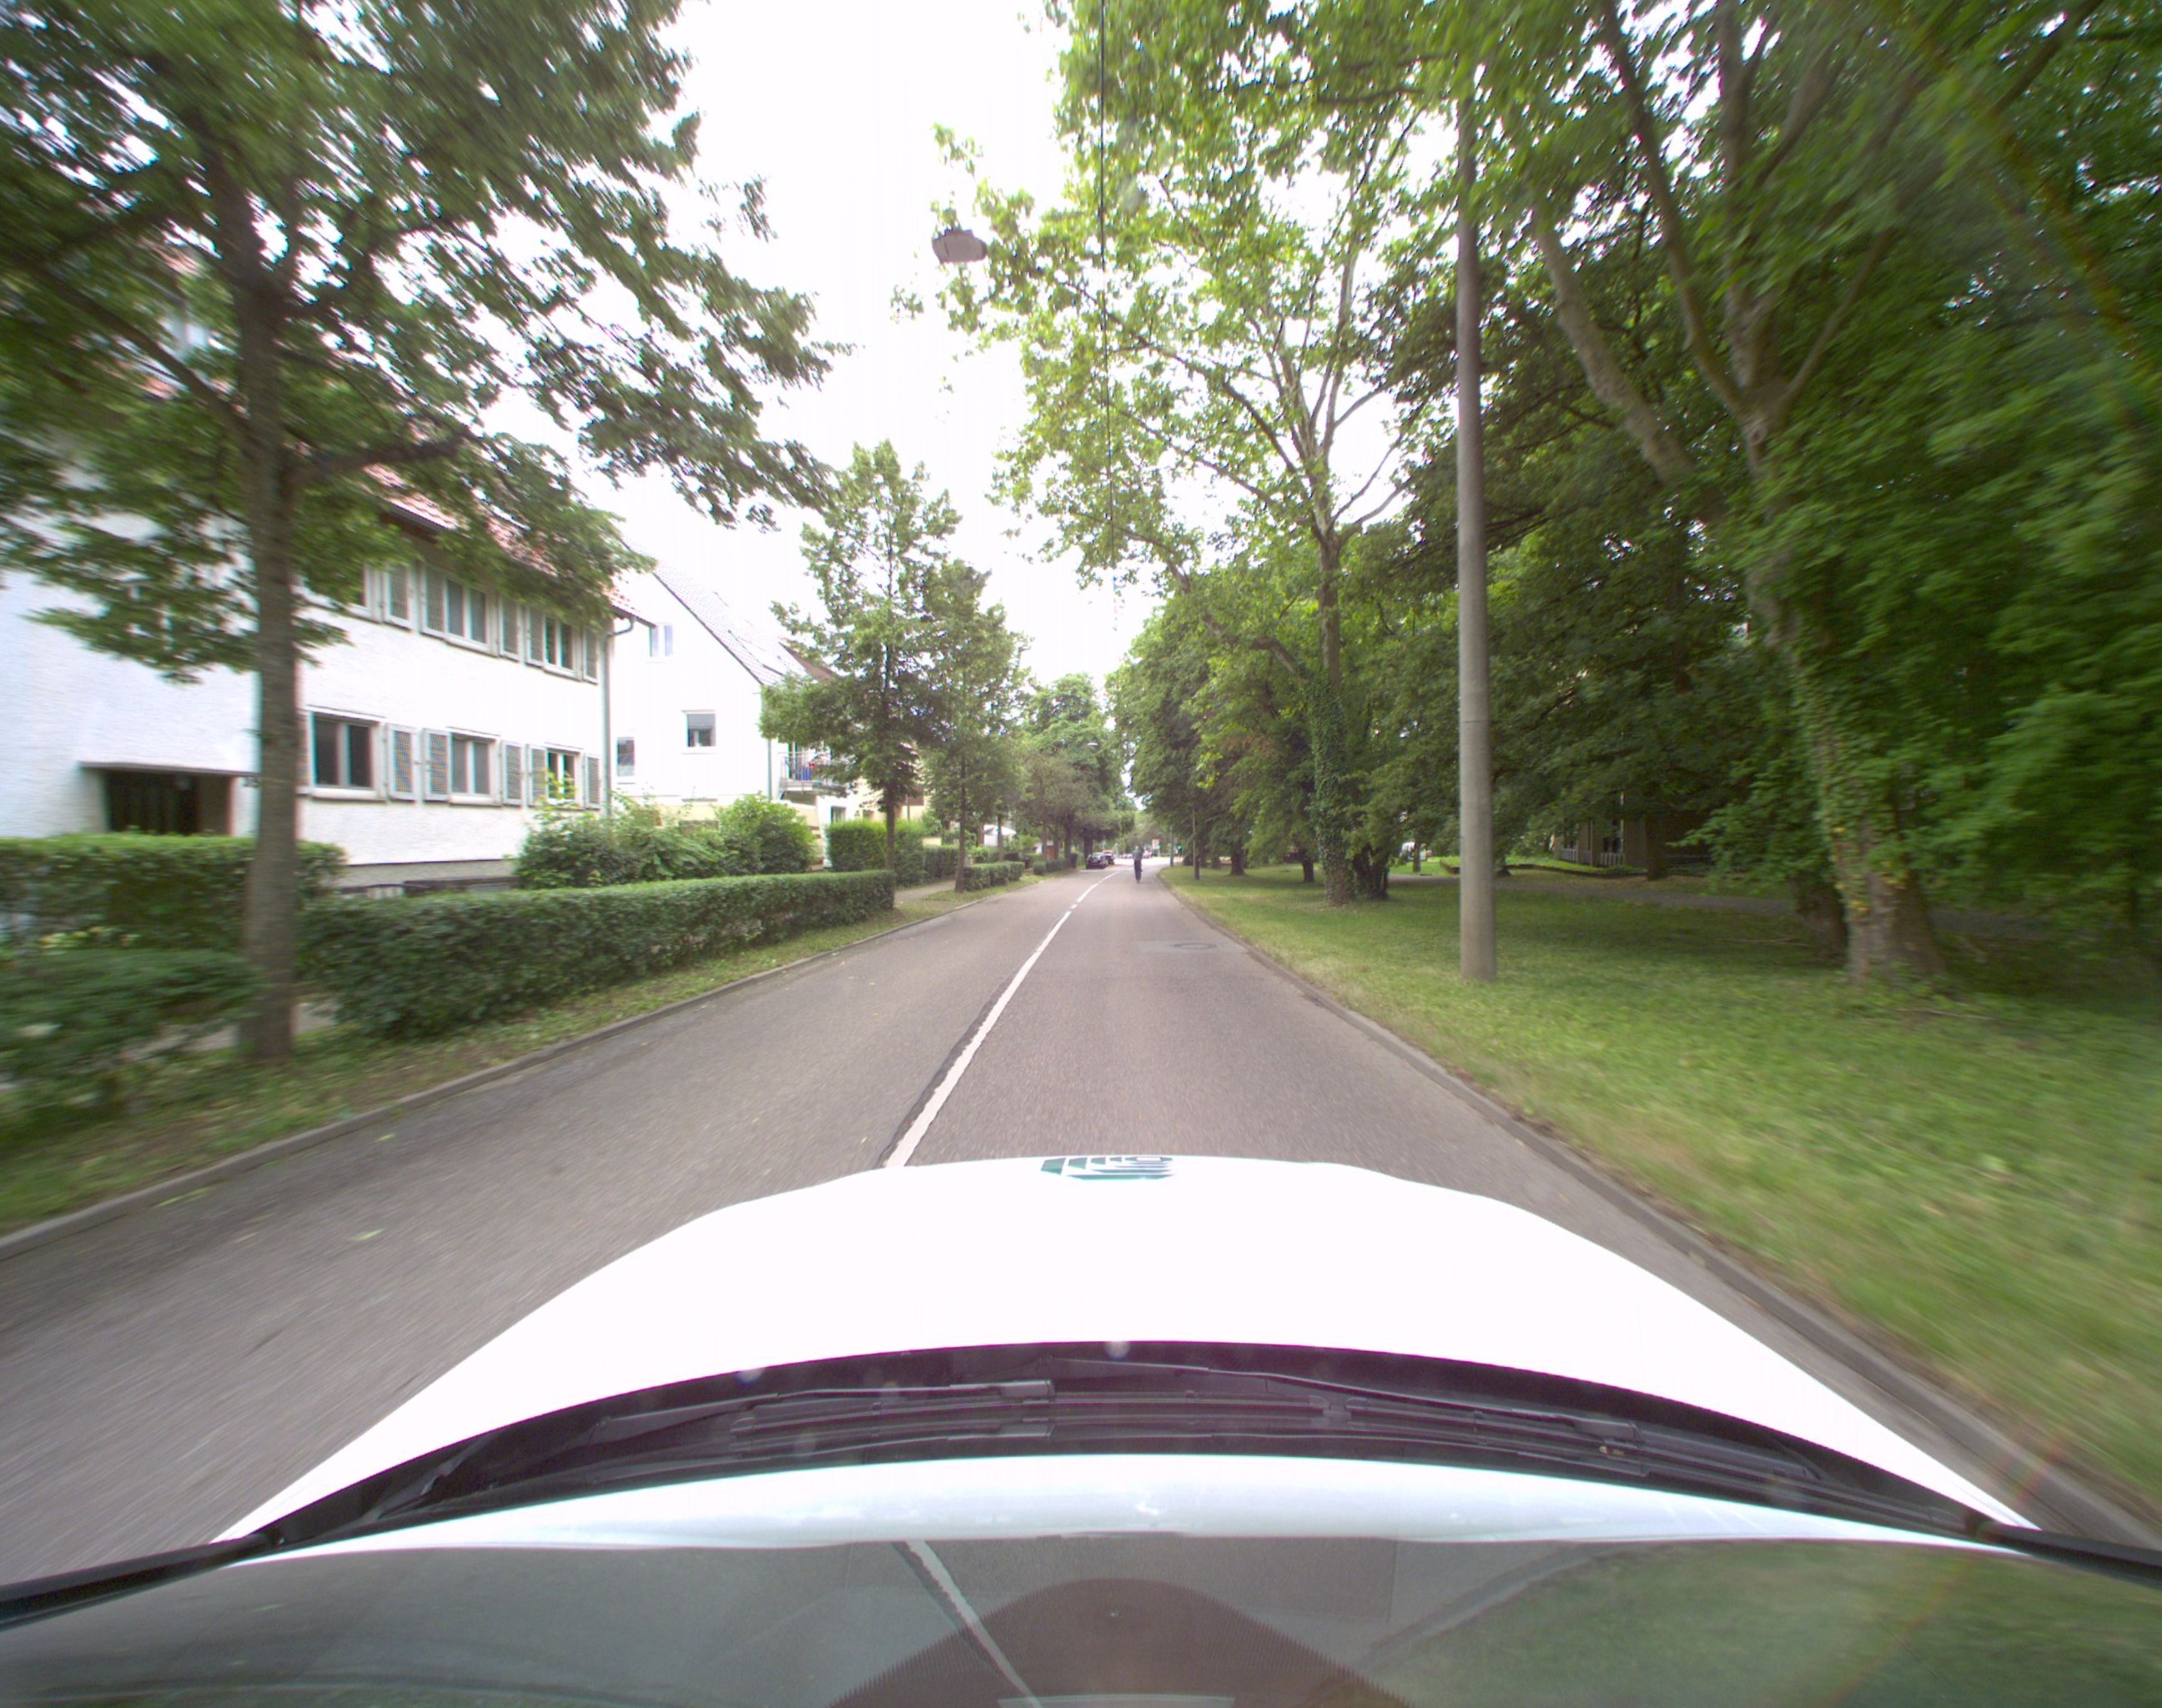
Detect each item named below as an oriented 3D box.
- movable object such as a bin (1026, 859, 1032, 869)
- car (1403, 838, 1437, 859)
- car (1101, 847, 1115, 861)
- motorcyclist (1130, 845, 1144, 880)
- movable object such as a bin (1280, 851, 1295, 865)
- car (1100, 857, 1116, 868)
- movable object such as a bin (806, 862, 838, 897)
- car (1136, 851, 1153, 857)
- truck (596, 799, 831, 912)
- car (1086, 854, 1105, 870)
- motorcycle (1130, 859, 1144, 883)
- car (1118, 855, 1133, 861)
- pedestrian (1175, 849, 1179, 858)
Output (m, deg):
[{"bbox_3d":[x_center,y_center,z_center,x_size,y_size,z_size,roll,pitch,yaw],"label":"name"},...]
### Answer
[{"bbox_3d":[-4.652,0.873,72.843,0.454,0.915,0.508,-2,-1,-2],"label":"movable object such as a bin"},{"bbox_3d":[31.628,-0.542,76.101,2.071,1.842,4.986,-2,1,13],"label":"car"},{"bbox_3d":[4.112,-0.001,123.202,1.852,1.964,4.502,-2,-1,-1],"label":"car"},{"bbox_3d":[2.919,0.444,42.191,0.669,1.761,0.640,0,0,6],"label":"motorcyclist"},{"bbox_3d":[22.439,0.429,88.540,1.321,1.501,1.315,-2,0,2],"label":"movable object such as a bin"},{"bbox_3d":[3.705,1.185,112.393,1.883,1.410,4.560,-2,-1,5],"label":"car"},{"bbox_3d":[-7.166,0.704,22.551,0.577,0.926,0.694,-2,0,5],"label":"movable object such as a bin"},{"bbox_3d":[15.122,0.004,192.917,3.972,1.510,1.801,-2,0,2],"label":"car"},{"bbox_3d":[-10.722,0.042,24.152,5.775,3.131,2.519,-1,0,1],"label":"truck"},{"bbox_3d":[1.462,0.788,81.276,1.787,1.472,4.421,-2,0,2],"label":"car"},{"bbox_3d":[2.890,0.853,41.968,0.669,1.217,1.276,0,0,6],"label":"motorcycle"},{"bbox_3d":[12.147,1.207,220.620,3.972,1.510,1.801,-2,0,2],"label":"car"},{"bbox_3d":[18.687,-0.034,158.645,0.725,1.762,0.665,-2,-1,24],"label":"pedestrian"}]
